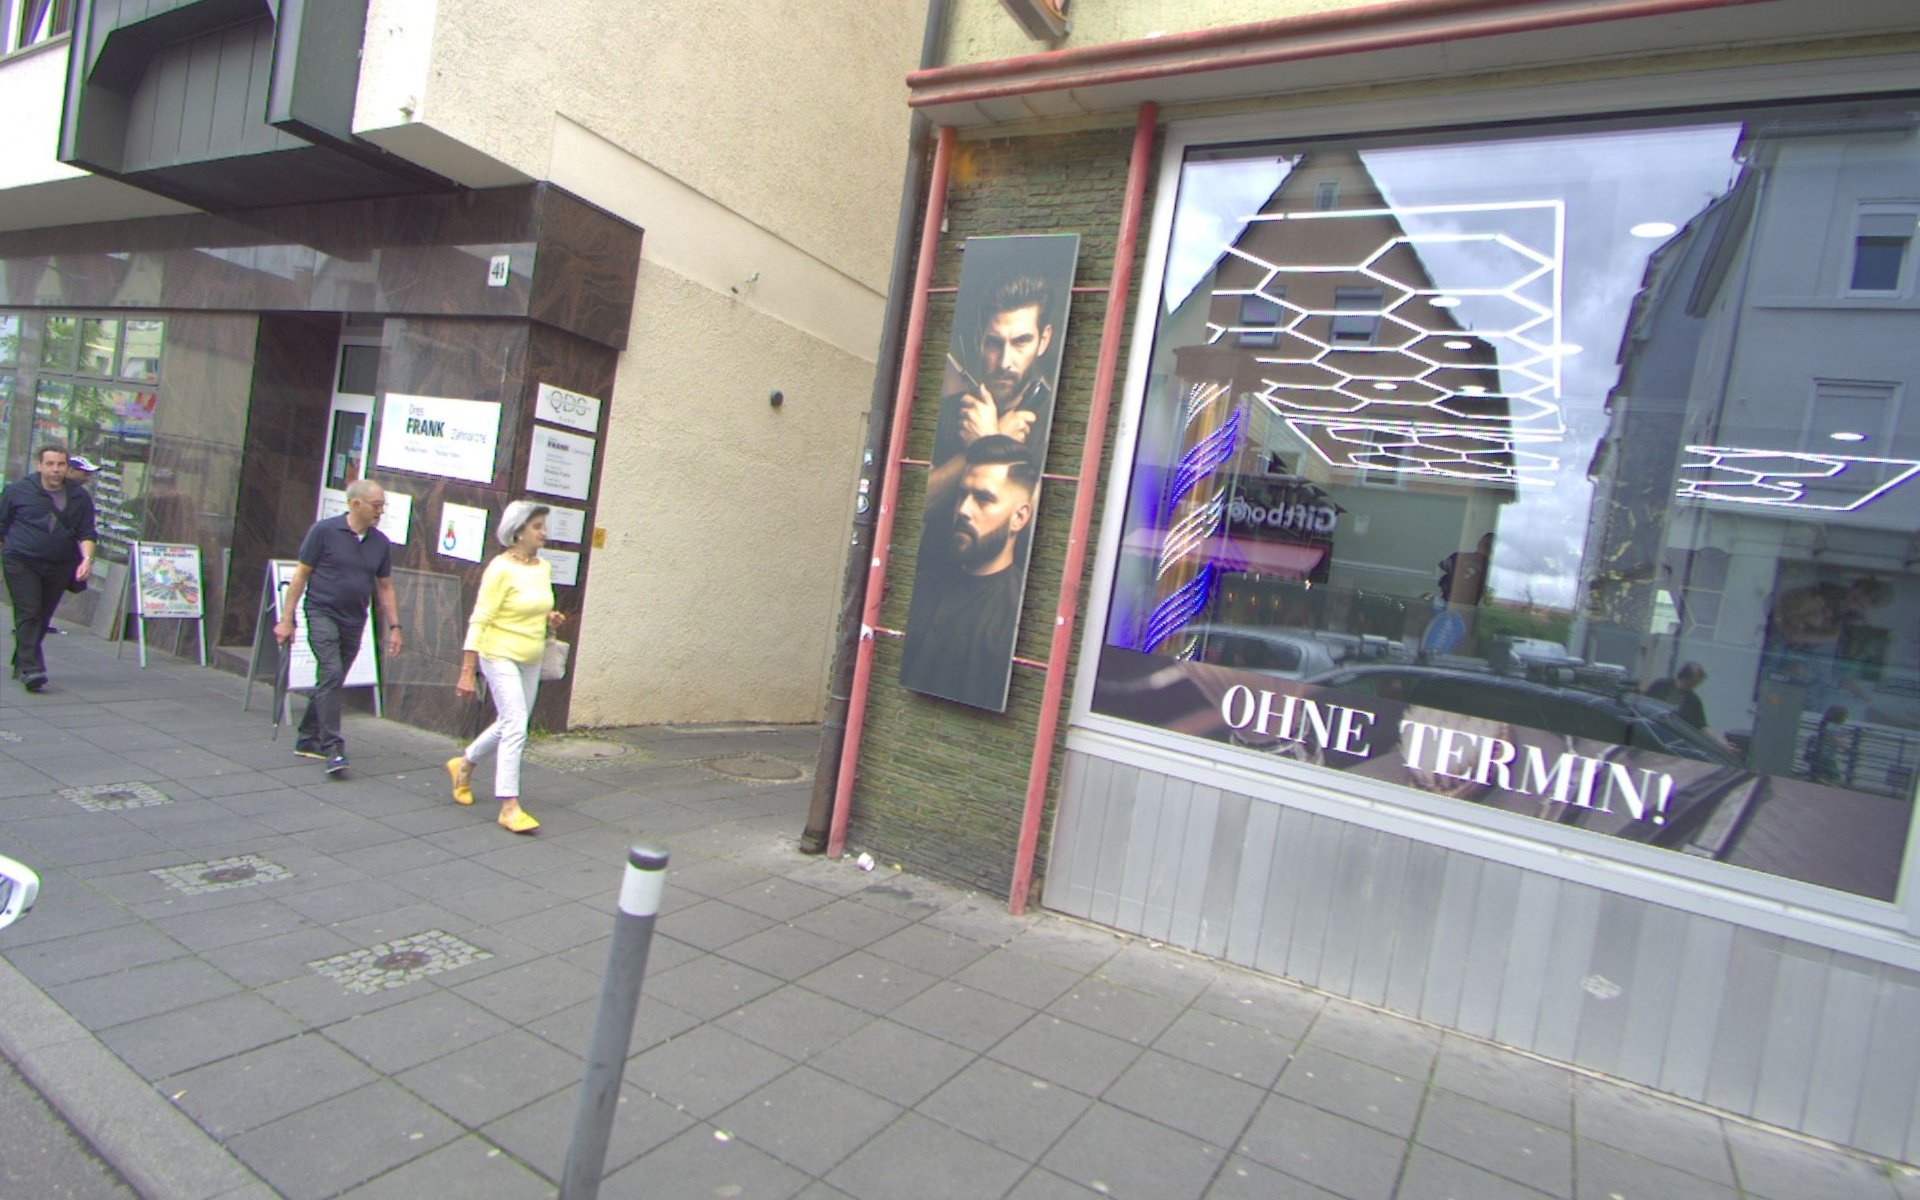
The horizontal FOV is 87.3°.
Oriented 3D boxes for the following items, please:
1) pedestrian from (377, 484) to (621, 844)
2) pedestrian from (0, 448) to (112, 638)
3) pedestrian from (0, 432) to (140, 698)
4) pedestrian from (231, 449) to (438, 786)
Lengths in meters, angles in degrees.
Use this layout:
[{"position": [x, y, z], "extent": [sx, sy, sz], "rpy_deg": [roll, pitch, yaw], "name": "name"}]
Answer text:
[{"position": [-2.377, 0.291, 5.198], "extent": [0.821, 1.653, 0.711], "rpy_deg": [7, 3, 31], "name": "pedestrian"}, {"position": [-8.617, -0.529, 9.551], "extent": [0.533, 1.713, 0.663], "rpy_deg": [7, 4, 25], "name": "pedestrian"}, {"position": [-6.509, -0.253, 7.187], "extent": [0.774, 1.777, 0.711], "rpy_deg": [7, 3, 31], "name": "pedestrian"}, {"position": [-3.619, 0.072, 5.829], "extent": [0.772, 1.778, 0.710], "rpy_deg": [7, 5, 31], "name": "pedestrian"}]
